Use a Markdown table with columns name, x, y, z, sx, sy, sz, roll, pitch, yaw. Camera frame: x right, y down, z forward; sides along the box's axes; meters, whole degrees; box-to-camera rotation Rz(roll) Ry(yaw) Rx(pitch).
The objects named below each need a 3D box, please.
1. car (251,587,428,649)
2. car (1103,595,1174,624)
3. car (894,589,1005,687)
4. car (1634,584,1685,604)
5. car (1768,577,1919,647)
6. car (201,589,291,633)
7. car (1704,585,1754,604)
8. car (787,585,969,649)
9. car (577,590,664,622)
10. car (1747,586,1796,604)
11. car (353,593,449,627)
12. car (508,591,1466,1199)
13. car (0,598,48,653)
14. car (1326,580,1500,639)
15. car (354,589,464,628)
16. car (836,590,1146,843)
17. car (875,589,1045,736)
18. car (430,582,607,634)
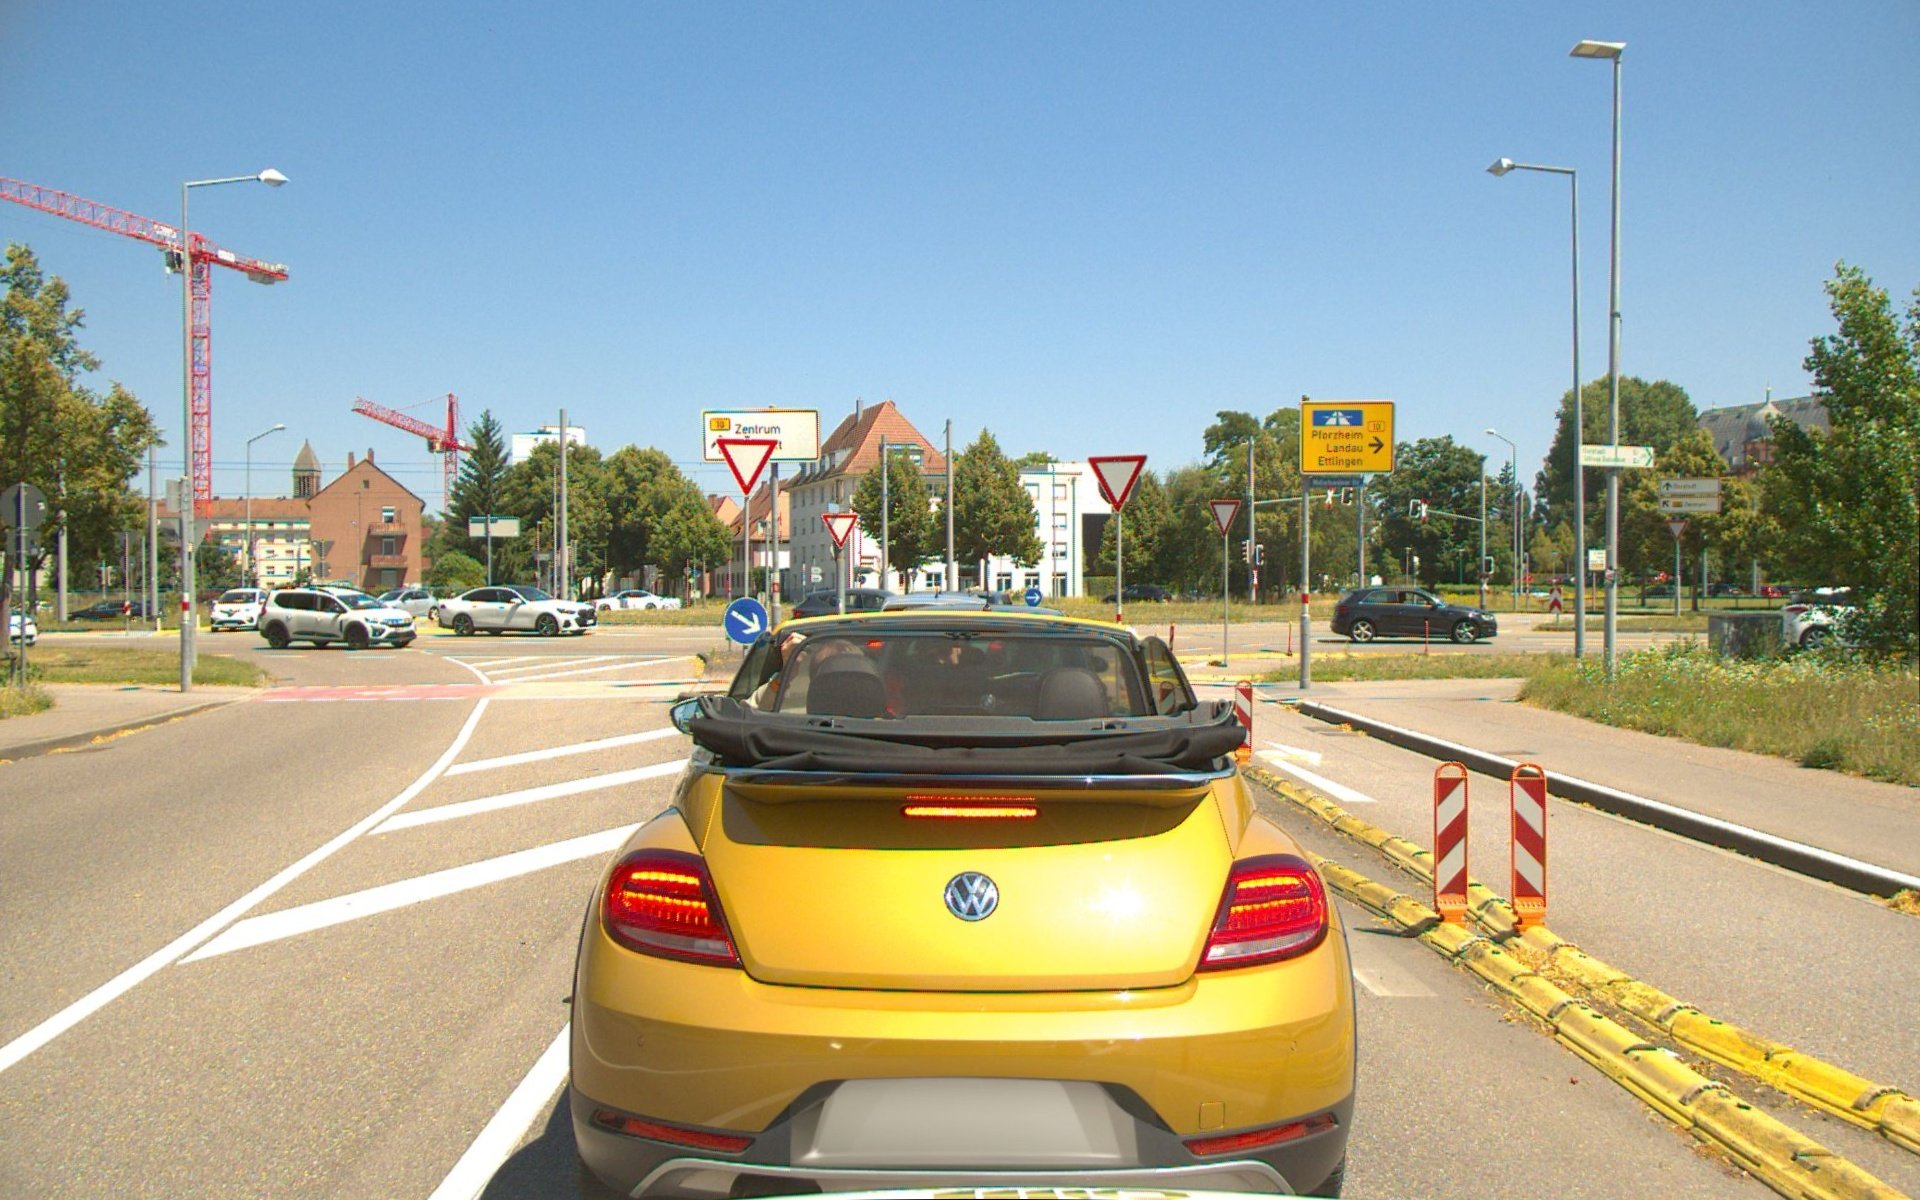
| name | x | y | z | sx | sy | sz | roll | pitch | yaw |
| --- | --- | --- | --- | --- | --- | --- | --- | --- | --- |
| car | -16.831 | 0.449 | 44.815 | 4.486 | 1.593 | 1.998 | 0 | 0 | 27 |
| car | 11.456 | 0.612 | 106.208 | 4.104 | 1.701 | 1.948 | -1 | 0 | 25 |
| car | -0.185 | 0.580 | 27.479 | 1.701 | 1.503 | 3.999 | 0 | 0 | -1 |
| car | 63.838 | -0.531 | 150.999 | 3.923 | 1.744 | 1.991 | 0 | 0 | -17 |
| car | 19.959 | 0.253 | 36.157 | 3.924 | 1.470 | 1.633 | 0 | 0 | 18 |
| car | -26.944 | 0.395 | 62.531 | 1.720 | 1.576 | 3.999 | 0 | 0 | -1 |
| car | 71.239 | -0.492 | 153.292 | 3.923 | 1.744 | 1.991 | 0 | 0 | -17 |
| car | -1.960 | 0.395 | 40.243 | 4.115 | 1.467 | 2.002 | 0 | 0 | 7 |
| car | -20.057 | 0.333 | 97.732 | 4.631 | 1.860 | 1.976 | 0 | 0 | -35 |
| car | 76.408 | -0.468 | 155.810 | 3.926 | 1.744 | 1.989 | 0 | 0 | -19 |
| car | -26.349 | 0.461 | 78.011 | 1.676 | 1.526 | 4.210 | 0 | 0 | 32 |
| car | 0.021 | 0.706 | 4.859 | 1.717 | 1.447 | 3.776 | 0 | 0 | -1 |
| car | -30.681 | 0.760 | 51.785 | 3.918 | 1.648 | 1.680 | 0 | 0 | 23 |
| car | 11.648 | 0.243 | 42.792 | 4.098 | 1.467 | 2.002 | 0 | 0 | 7 |
| car | -27.568 | 0.436 | 82.855 | 4.893 | 1.817 | 1.994 | -2 | 0 | -44 |
| car | 0.158 | 0.678 | 11.669 | 1.810 | 1.467 | 3.999 | 0 | 0 | -1 |
| car | -0.025 | 0.624 | 18.625 | 1.701 | 1.467 | 3.999 | 0 | 0 | -1 |
| car | -13.480 | 0.234 | 50.569 | 4.885 | 1.536 | 2.001 | 0 | 0 | 16 |
